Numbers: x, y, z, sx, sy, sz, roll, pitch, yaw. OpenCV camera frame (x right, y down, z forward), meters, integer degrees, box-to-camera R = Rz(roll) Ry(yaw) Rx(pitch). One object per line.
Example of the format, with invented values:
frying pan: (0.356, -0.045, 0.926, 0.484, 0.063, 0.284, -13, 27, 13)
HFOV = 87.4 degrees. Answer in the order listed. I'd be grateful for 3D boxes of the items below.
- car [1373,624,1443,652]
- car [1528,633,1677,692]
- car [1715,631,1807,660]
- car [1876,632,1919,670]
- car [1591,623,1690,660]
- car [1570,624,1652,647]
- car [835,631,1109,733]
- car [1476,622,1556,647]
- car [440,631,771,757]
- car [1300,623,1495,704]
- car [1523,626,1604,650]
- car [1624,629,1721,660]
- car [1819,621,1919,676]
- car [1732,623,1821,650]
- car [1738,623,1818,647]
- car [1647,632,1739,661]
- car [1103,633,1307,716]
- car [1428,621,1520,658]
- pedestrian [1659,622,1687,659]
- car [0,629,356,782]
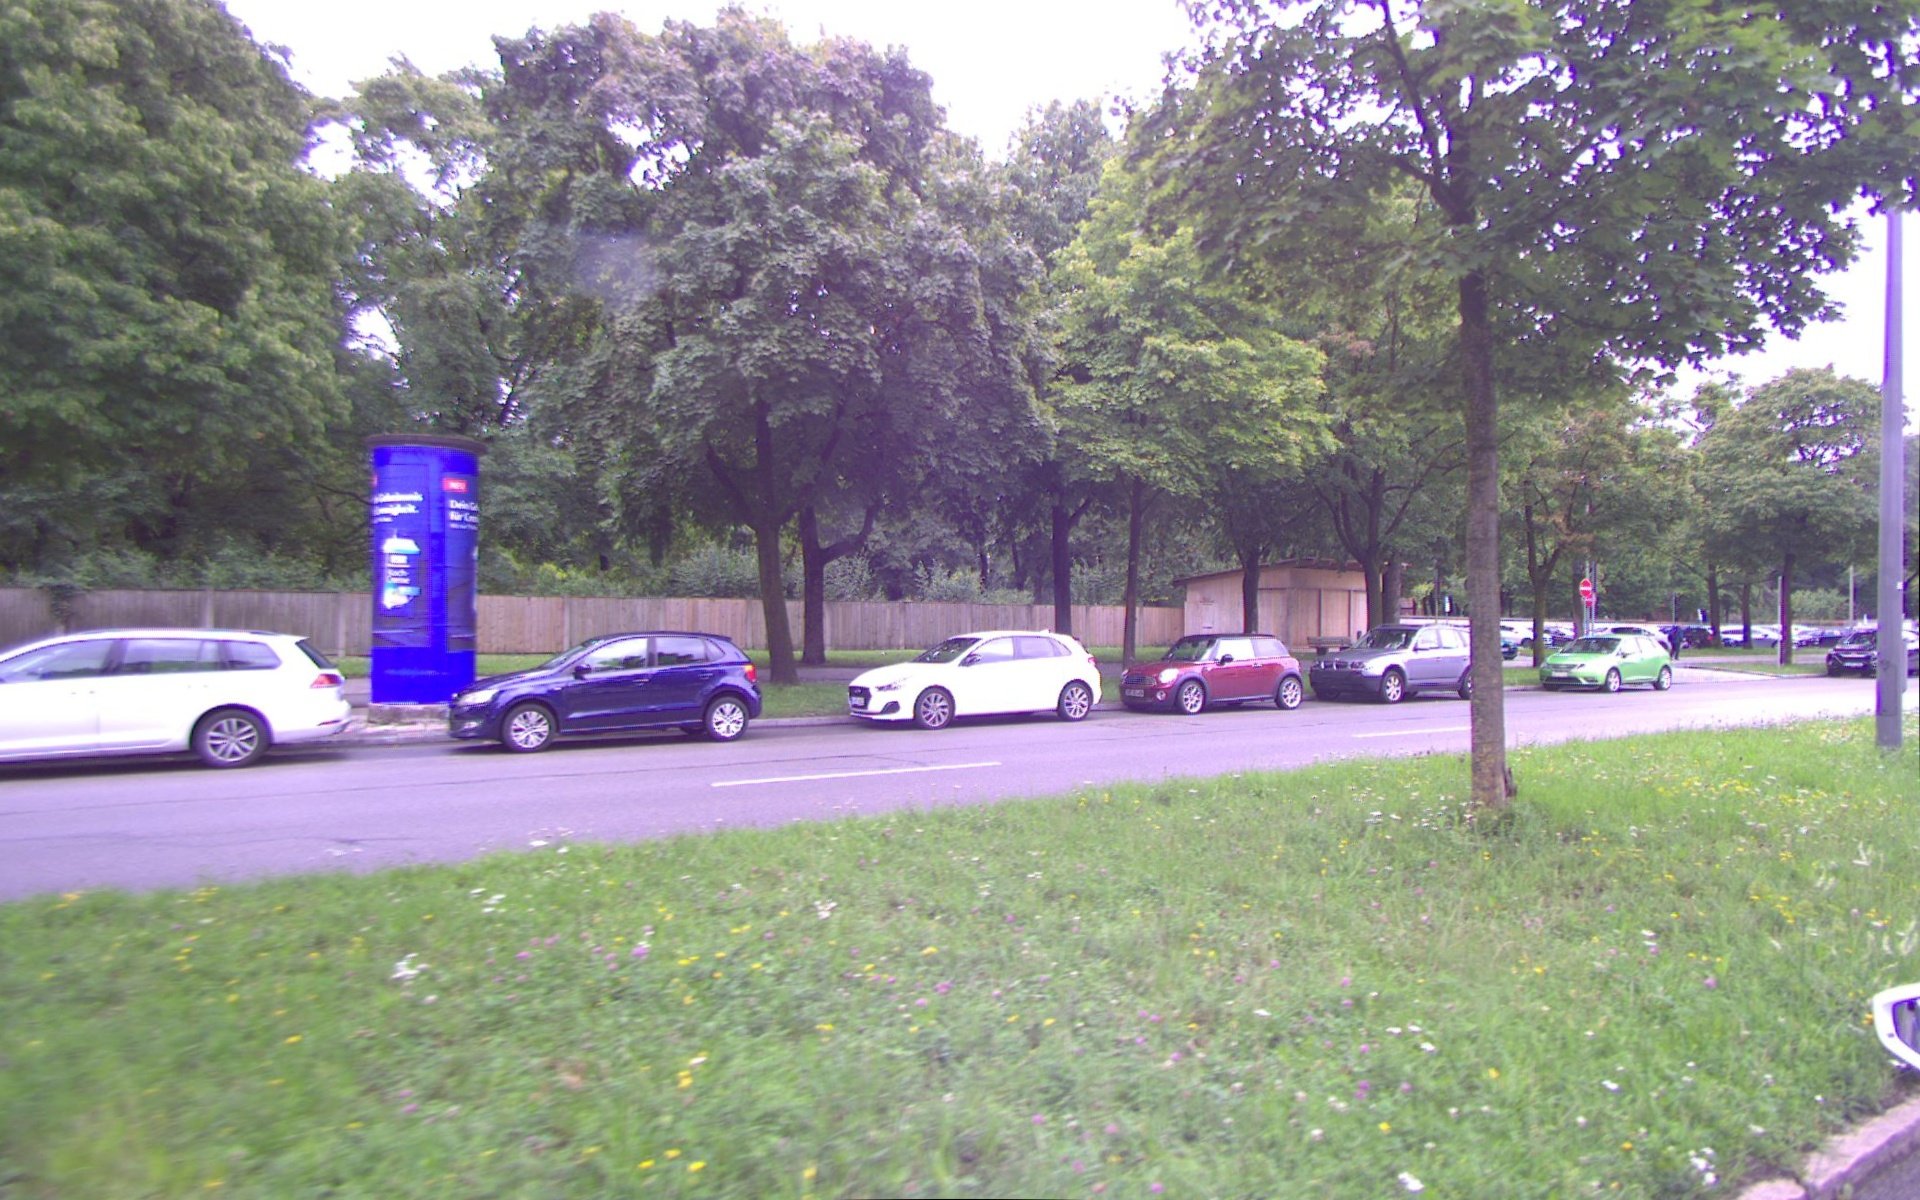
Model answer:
car: (22.209, 1.865, 49.971, 1.639, 1.217, 4.421, 2, 0, 2)
car: (16.618, 1.574, 25.947, 3.830, 1.428, 1.542, 1, -2, -28)
car: (46.181, 2.617, 58.004, 1.656, 1.465, 3.841, 1, 0, -34)
car: (35.623, 1.878, 37.222, 3.342, 1.329, 1.583, 1, 0, -31)
car: (35.275, 2.139, 52.147, 1.656, 1.740, 3.893, 1, 0, -34)
car: (46.378, 2.485, 71.654, 1.652, 1.465, 4.671, 1, 0, -29)
car: (0.243, 1.247, 16.264, 4.228, 1.463, 1.600, 1, -2, -30)
car: (36.940, 2.258, 66.858, 1.652, 1.496, 4.487, 2, 0, -29)
car: (-4.583, 1.130, 13.158, 3.855, 1.436, 1.604, 1, -2, -33)
car: (9.524, 1.325, 21.769, 4.320, 1.607, 1.682, 1, -2, -31)
car: (42.388, 2.631, 70.627, 1.652, 1.465, 4.671, 1, 0, -29)
car: (37.823, 2.344, 53.394, 1.656, 1.465, 3.841, 1, 0, -34)
car: (31.510, 1.651, 34.640, 3.834, 1.764, 1.708, 1, 0, -31)
car: (48.695, 2.165, 59.976, 1.656, 1.465, 3.841, 1, 0, -34)
car: (54.699, 2.315, 67.243, 1.656, 1.465, 3.841, 1, 0, -34)
car: (40.978, 2.572, 56.206, 1.656, 1.465, 3.841, 1, 0, -34)
car: (4.610, 1.341, 18.837, 3.585, 1.415, 1.584, 1, -2, -29)
car: (22.515, 1.697, 44.210, 1.922, 1.465, 4.421, 2, 0, 2)
pedestrian: (30.255, 1.704, 42.622, 0.712, 1.554, 0.724, 1, 0, -29)
car: (-9.106, 1.055, 10.753, 4.480, 1.469, 1.754, 1, -2, -31)
